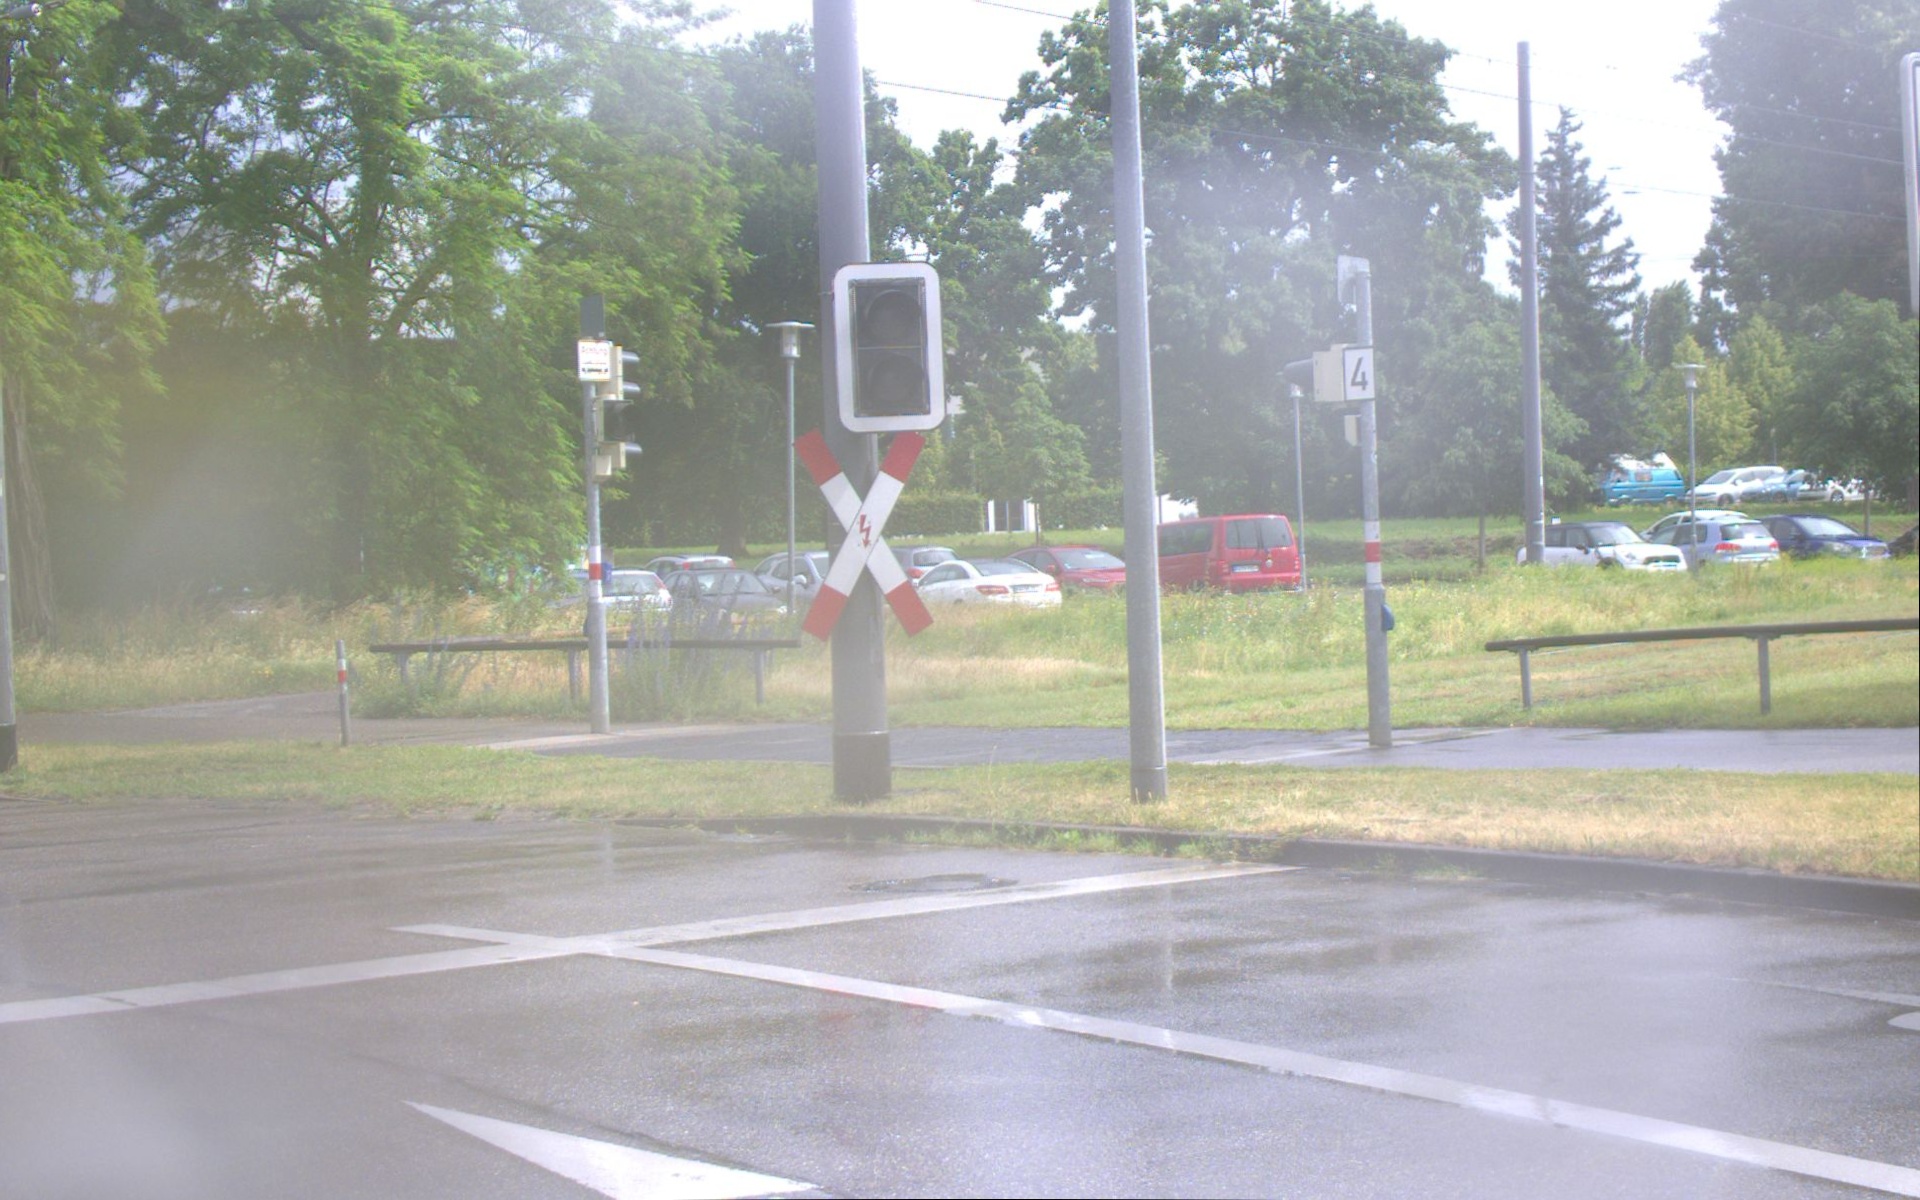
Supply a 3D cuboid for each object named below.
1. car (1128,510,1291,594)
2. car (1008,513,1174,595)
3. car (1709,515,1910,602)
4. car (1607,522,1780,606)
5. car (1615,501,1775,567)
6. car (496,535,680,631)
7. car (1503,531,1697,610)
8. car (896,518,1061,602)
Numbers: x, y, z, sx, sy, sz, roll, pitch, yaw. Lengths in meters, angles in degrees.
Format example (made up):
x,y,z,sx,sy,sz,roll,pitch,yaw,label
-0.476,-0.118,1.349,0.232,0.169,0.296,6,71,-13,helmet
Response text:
x,y,z,sx,sy,sz,roll,pitch,yaw,label
4.752,-0.907,65.977,1.644,1.505,3.651,-3,1,-22,car
2.446,-0.857,64.950,1.639,1.457,3.611,-2,1,-24,car
17.945,-0.858,72.806,1.993,1.709,4.001,-3,1,-26,car
15.263,-0.734,71.681,1.545,1.654,3.629,-3,1,-27,car
18.605,-1.666,87.156,1.793,1.522,4.000,-3,1,-27,car
-6.537,-0.282,60.035,1.844,1.554,3.979,-3,1,-27,car
13.123,-0.591,70.693,1.793,1.522,4.000,-3,1,-27,car
0.310,-0.726,63.587,1.639,1.457,3.611,-2,1,-24,car
